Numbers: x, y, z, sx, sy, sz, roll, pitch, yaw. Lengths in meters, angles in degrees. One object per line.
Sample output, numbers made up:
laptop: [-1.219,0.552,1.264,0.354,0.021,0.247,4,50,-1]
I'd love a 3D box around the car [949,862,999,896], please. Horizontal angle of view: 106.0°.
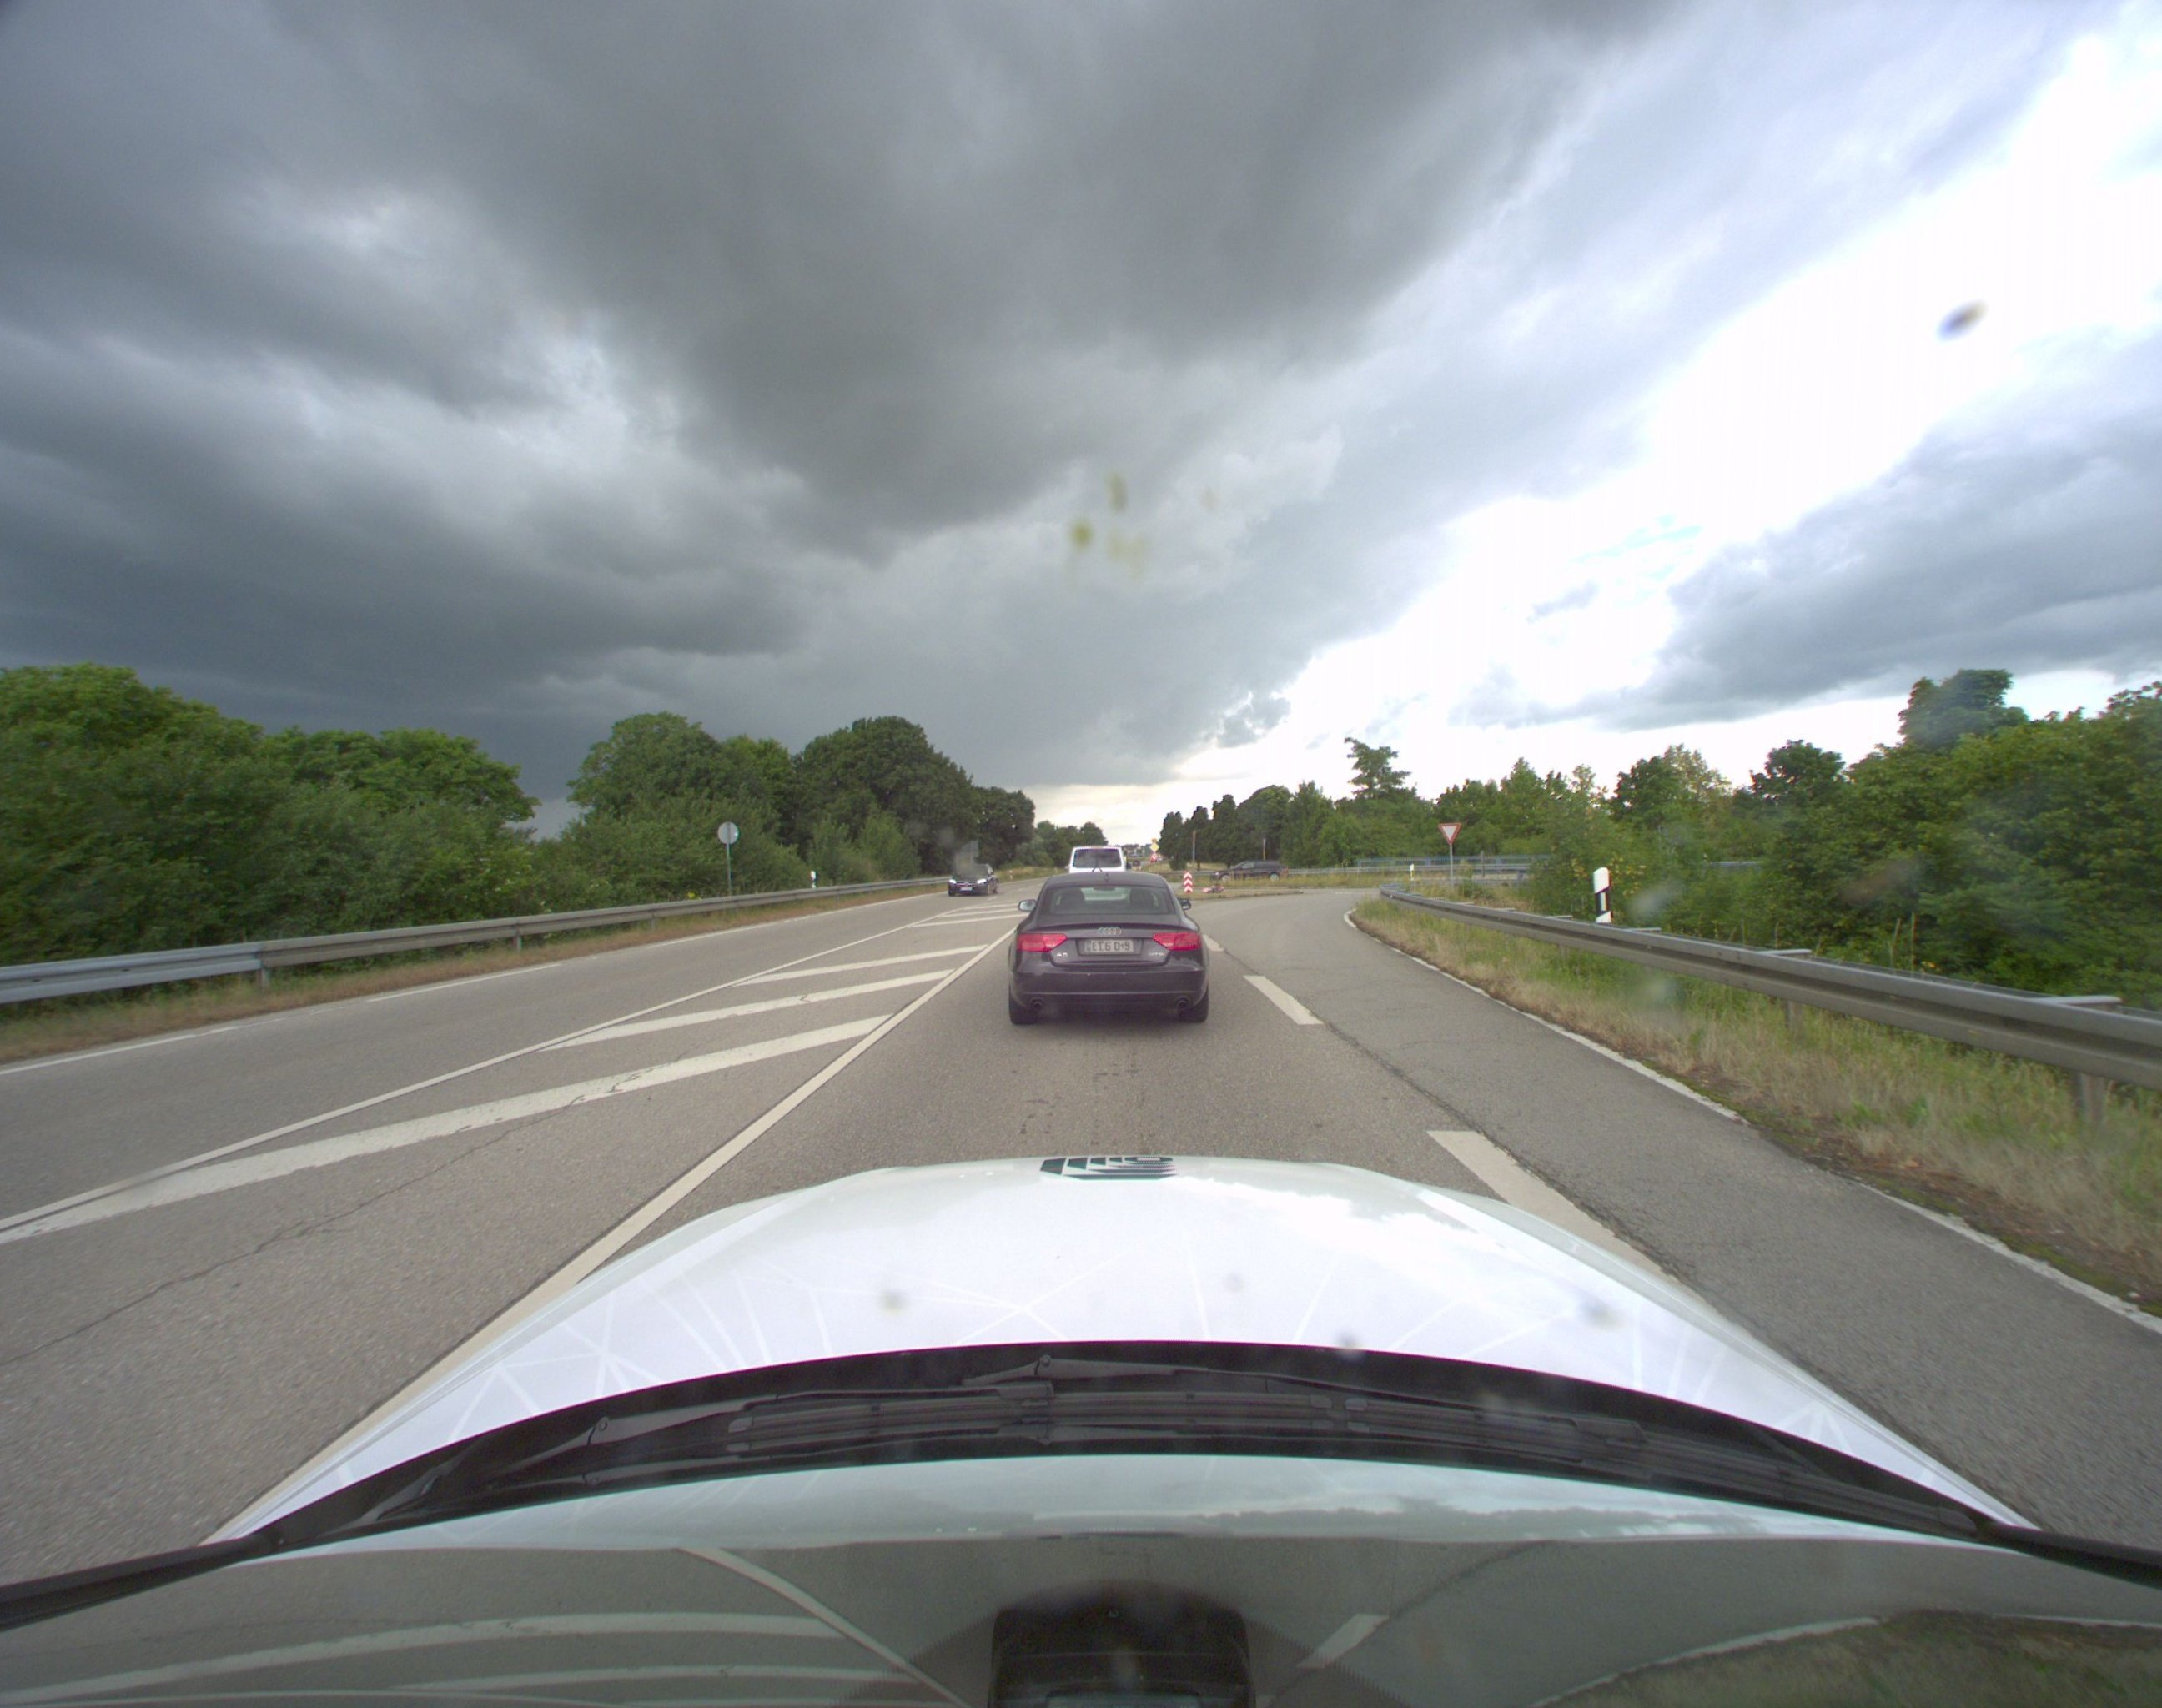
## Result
car: [-4.970,1.134,38.246,1.665,1.429,4.258,-1,0,1]

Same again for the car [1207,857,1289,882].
car: [9.812,0.895,48.241,4.573,1.374,1.829,-1,-1,5]

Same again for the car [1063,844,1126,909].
car: [0.457,0.655,25.747,1.832,1.882,4.001,0,0,2]

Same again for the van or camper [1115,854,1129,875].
van or camper: [7.012,1.815,138.668,2.330,3.481,5.724,-1,-1,4]

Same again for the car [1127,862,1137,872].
car: [7.842,1.986,125.446,1.251,1.353,3.473,-1,-1,8]

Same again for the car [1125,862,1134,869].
car: [9.955,2.338,167.341,1.712,1.451,4.003,0,-1,3]

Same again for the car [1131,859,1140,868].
car: [12.999,2.259,194.598,1.986,2.014,4.001,-1,0,1]

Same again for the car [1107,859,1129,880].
car: [3.720,1.541,82.011,1.984,2.088,4.005,-1,-1,5]

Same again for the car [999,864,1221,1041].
car: [0.294,0.820,8.546,1.776,1.376,4.002,0,0,2]
